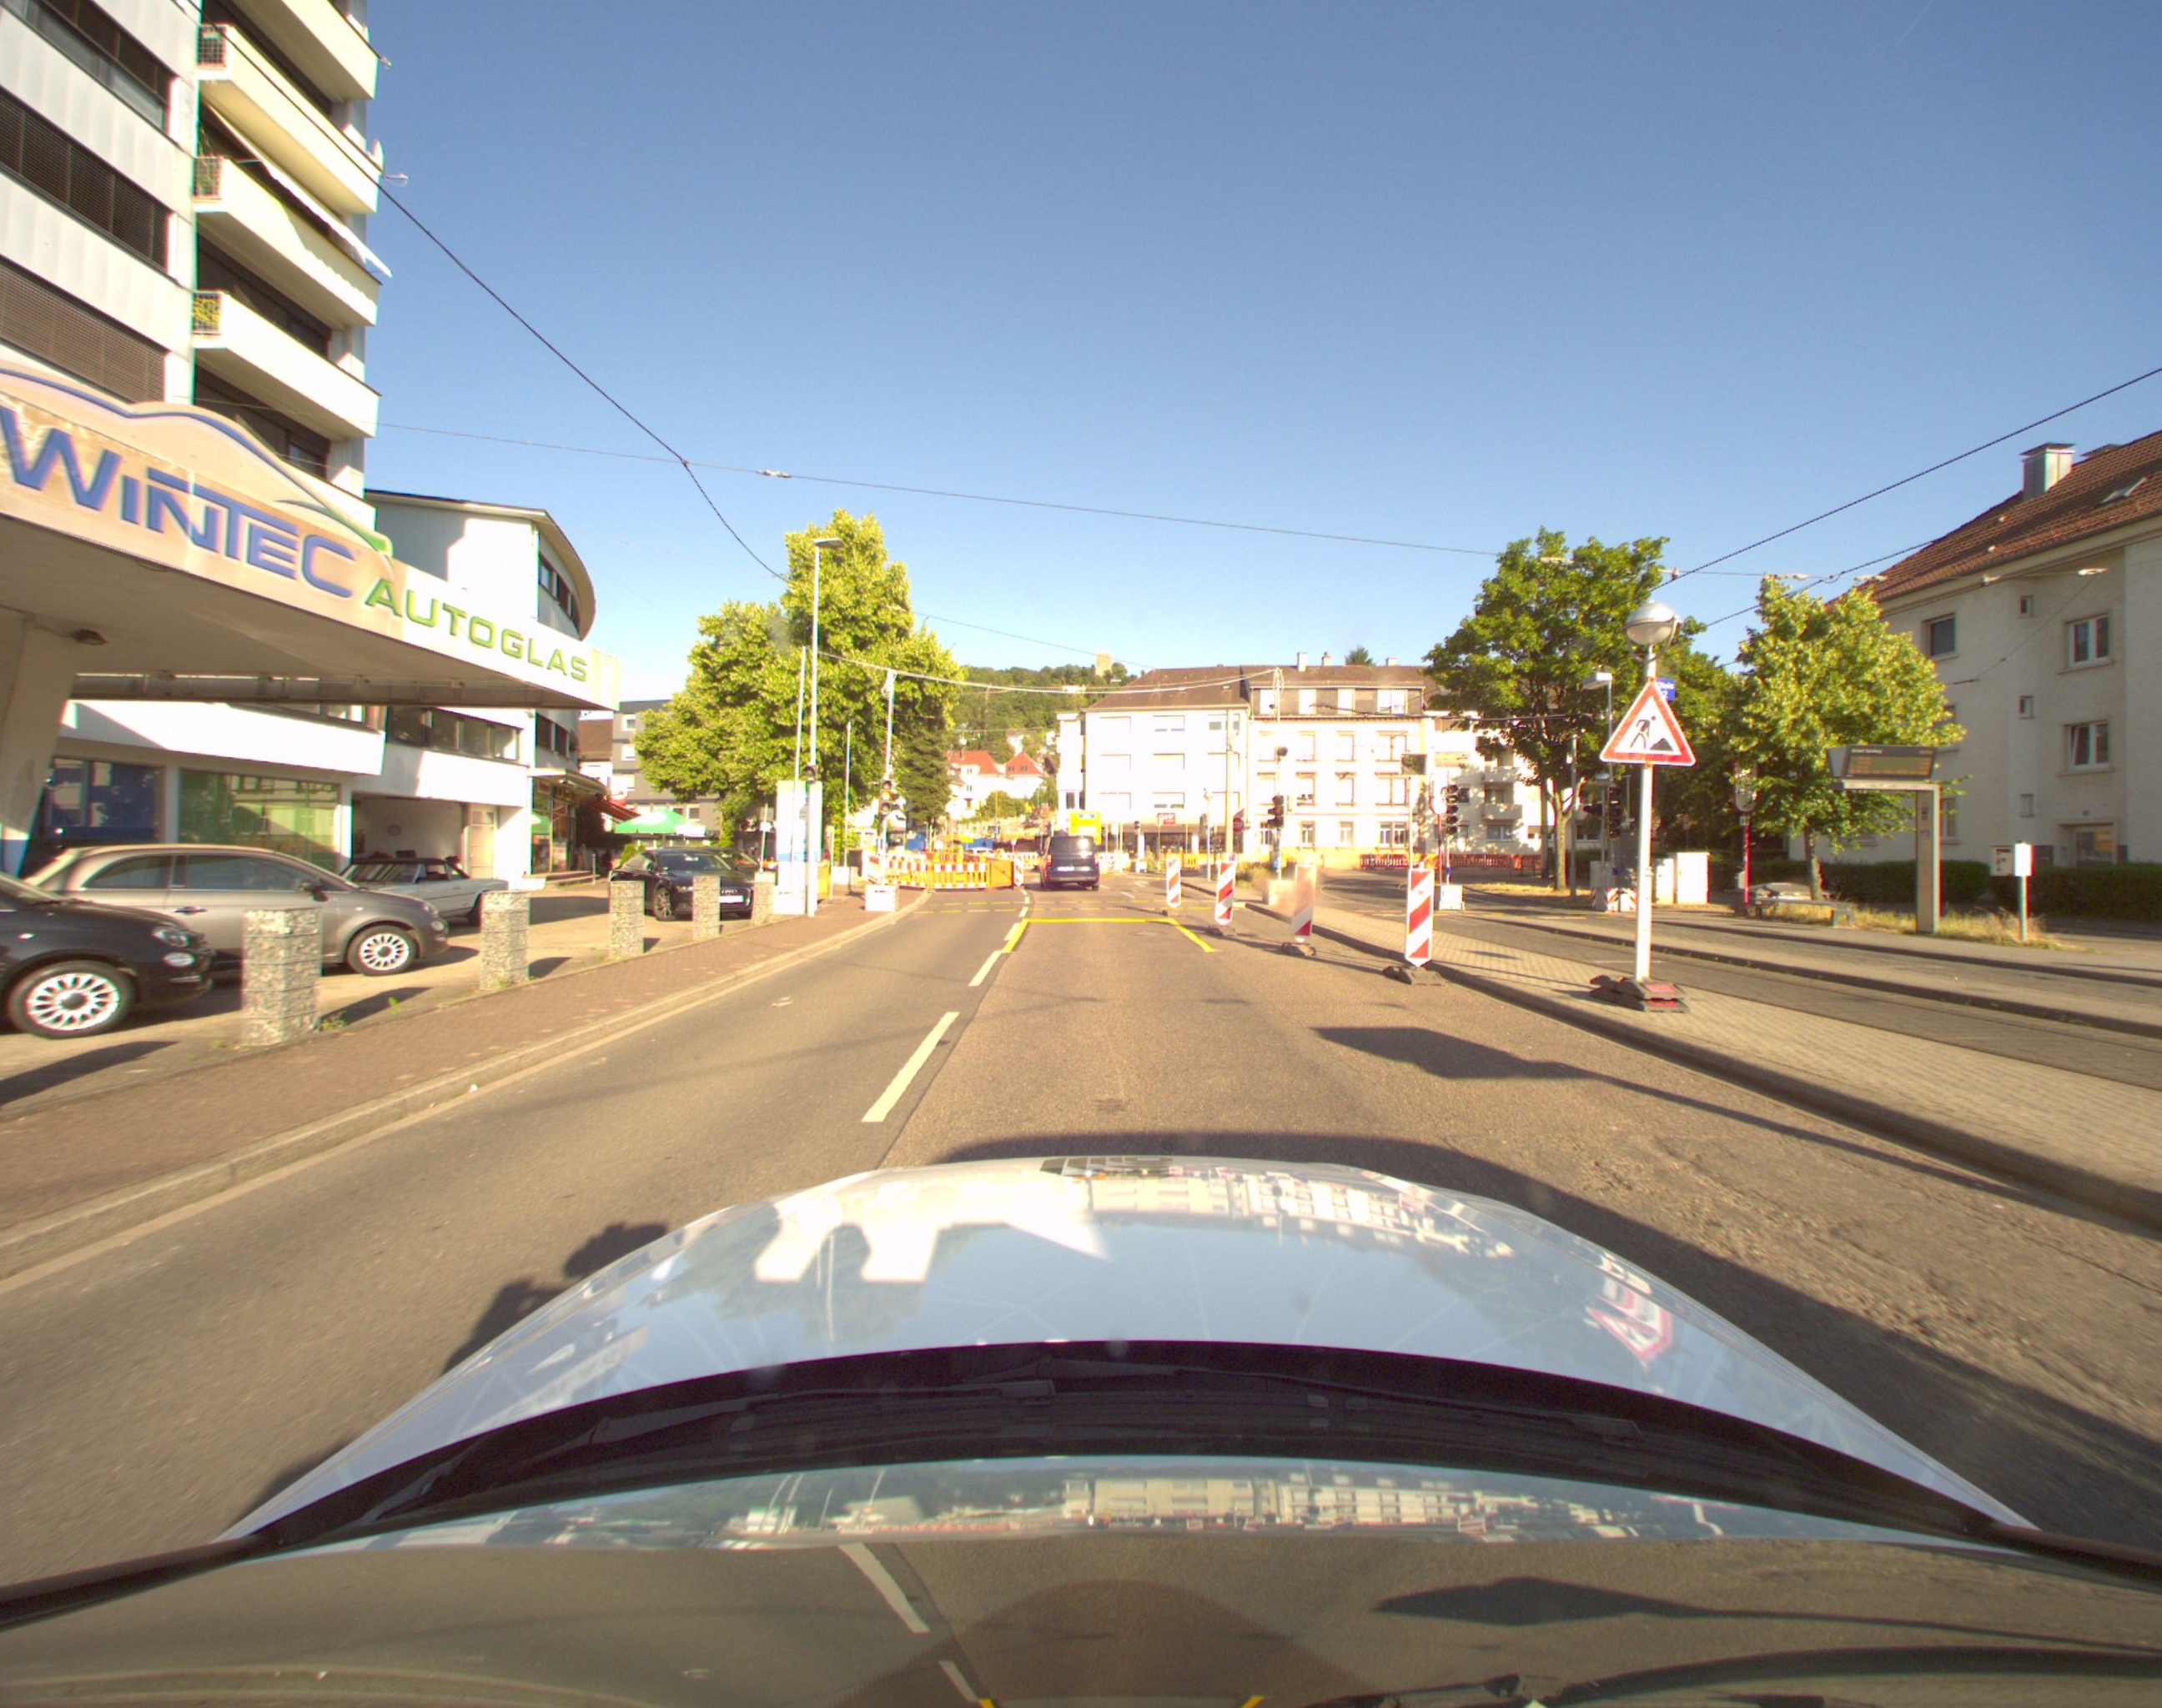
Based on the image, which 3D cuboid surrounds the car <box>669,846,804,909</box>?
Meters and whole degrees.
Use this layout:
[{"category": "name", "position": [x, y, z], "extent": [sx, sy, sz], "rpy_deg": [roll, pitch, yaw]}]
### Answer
[{"category": "car", "position": [-9.217, 0.549, 21.644], "extent": [4.245, 1.454, 1.660], "rpy_deg": [2, 0, 42]}]

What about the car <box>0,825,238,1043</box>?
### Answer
[{"category": "car", "position": [-8.717, 0.570, 6.020], "extent": [1.601, 1.568, 3.414], "rpy_deg": [0, 0, 43]}]

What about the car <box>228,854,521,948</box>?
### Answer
[{"category": "car", "position": [-11.674, 0.681, 13.898], "extent": [1.583, 1.284, 4.134], "rpy_deg": [0, 1, -4]}]

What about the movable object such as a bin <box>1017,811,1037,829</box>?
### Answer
[{"category": "movable object such as a bin", "position": [-8.411, -5.275, 128.050], "extent": [2.176, 2.690, 4.012], "rpy_deg": [0, 0, 11]}]

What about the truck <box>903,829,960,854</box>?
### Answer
[{"category": "truck", "position": [-15.043, -1.250, 82.934], "extent": [2.340, 2.415, 9.182], "rpy_deg": [0, 0, 12]}]

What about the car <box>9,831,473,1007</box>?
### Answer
[{"category": "car", "position": [-9.105, 0.584, 9.089], "extent": [1.601, 1.568, 3.415], "rpy_deg": [0, 0, 38]}]

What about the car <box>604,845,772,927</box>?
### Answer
[{"category": "car", "position": [-8.410, 0.585, 17.261], "extent": [1.922, 1.454, 4.260], "rpy_deg": [1, 1, -45]}]

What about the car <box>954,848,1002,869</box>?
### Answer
[{"category": "car", "position": [-7.107, 0.295, 55.700], "extent": [1.806, 1.409, 3.960], "rpy_deg": [0, 0, -32]}]

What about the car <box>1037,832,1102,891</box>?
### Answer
[{"category": "car", "position": [-0.522, 0.254, 30.346], "extent": [2.059, 2.013, 4.991], "rpy_deg": [0, 0, -5]}]

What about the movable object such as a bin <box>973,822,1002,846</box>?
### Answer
[{"category": "movable object such as a bin", "position": [-10.660, -2.291, 93.490], "extent": [2.176, 2.690, 4.012], "rpy_deg": [0, 0, 11]}]
